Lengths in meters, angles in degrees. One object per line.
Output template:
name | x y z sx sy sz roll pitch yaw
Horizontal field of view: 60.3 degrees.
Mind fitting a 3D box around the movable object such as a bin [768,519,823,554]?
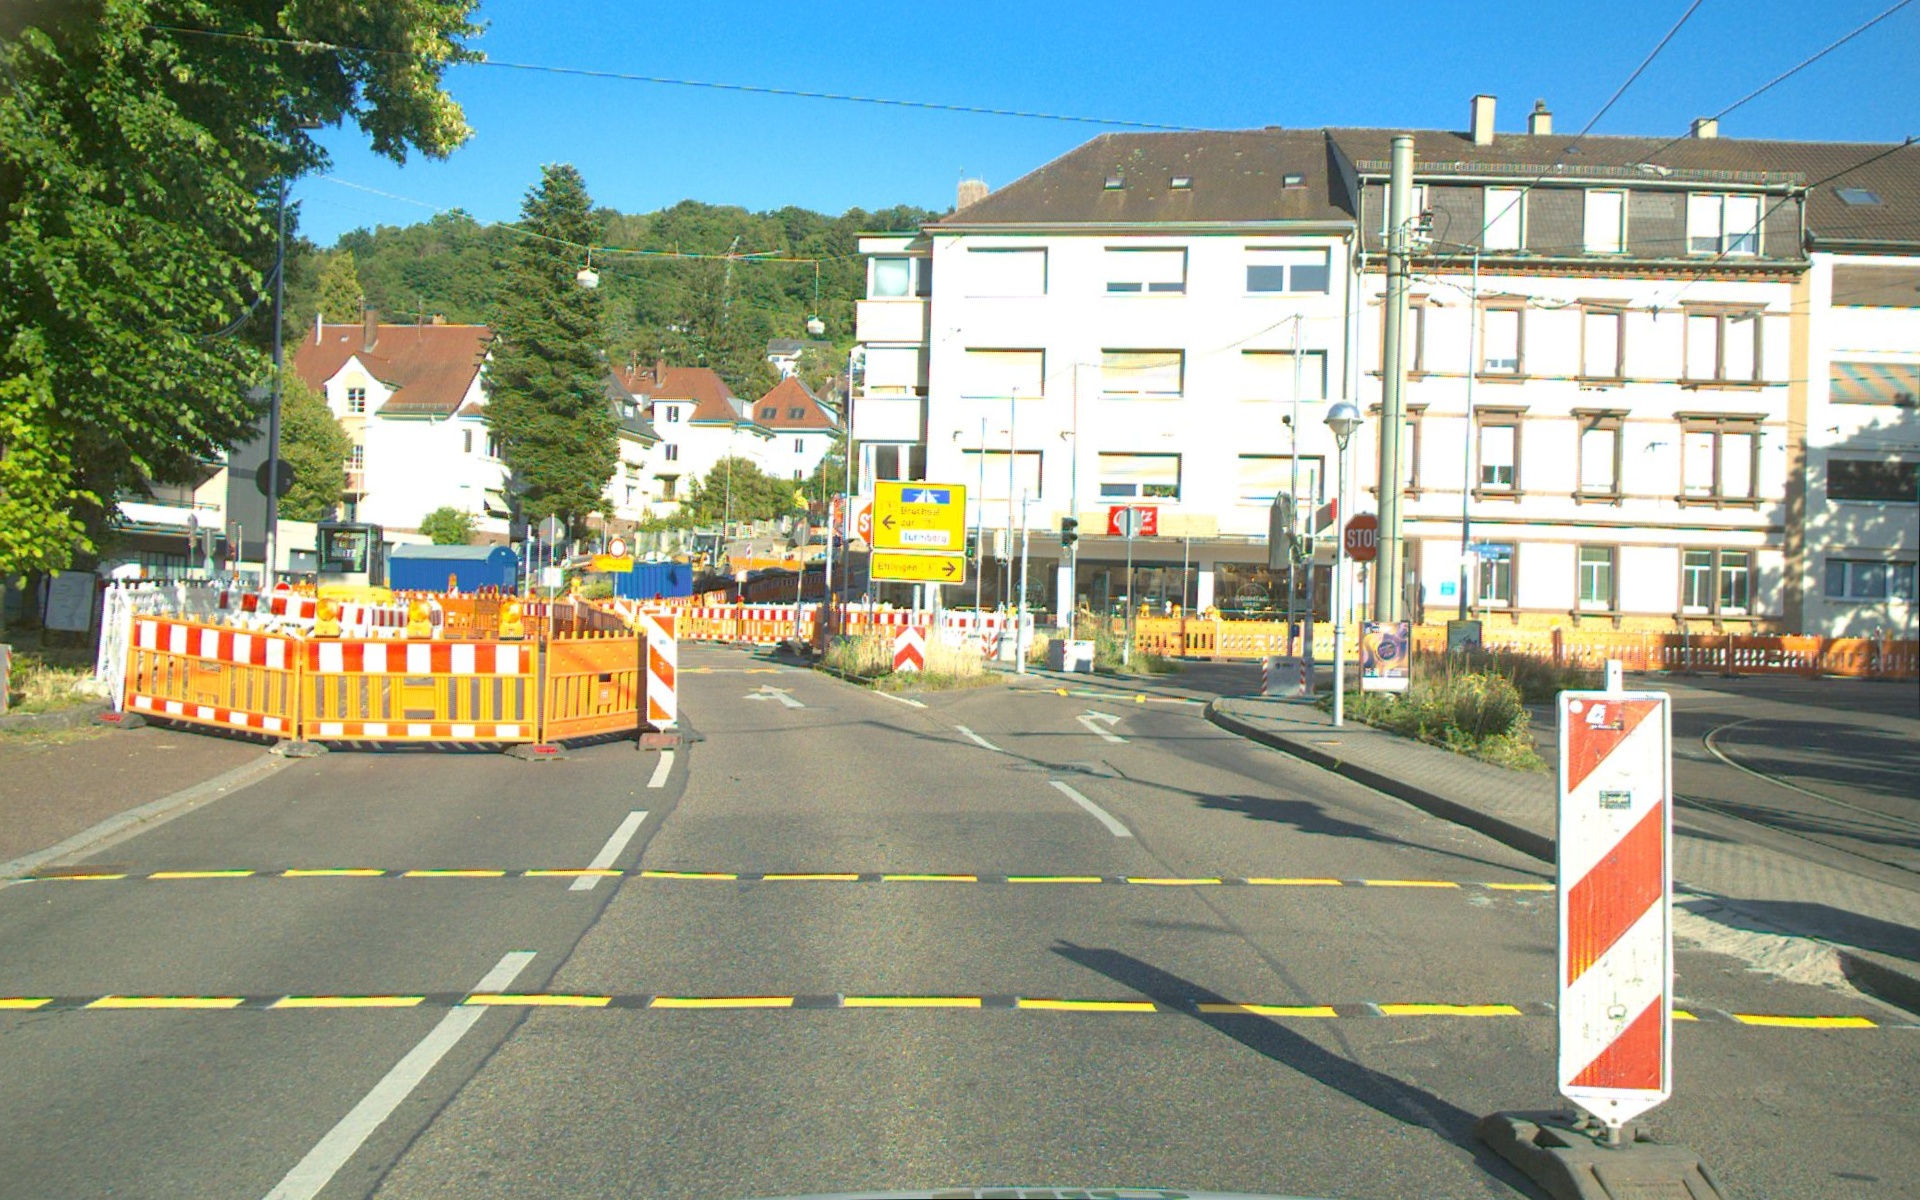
movable object such as a bin | -11.371 -4.395 114.734 2.510 2.159 5.789 1 0 8

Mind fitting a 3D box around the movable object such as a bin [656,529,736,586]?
movable object such as a bin | -12.529 -2.007 78.783 1.907 2.538 4.554 1 0 17

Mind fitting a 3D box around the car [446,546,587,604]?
car | -17.559 -0.946 65.895 2.529 2.158 6.154 1 0 17

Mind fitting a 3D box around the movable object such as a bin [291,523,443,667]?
movable object such as a bin | -10.424 -0.095 29.337 1.615 2.365 3.916 1 0 -6
